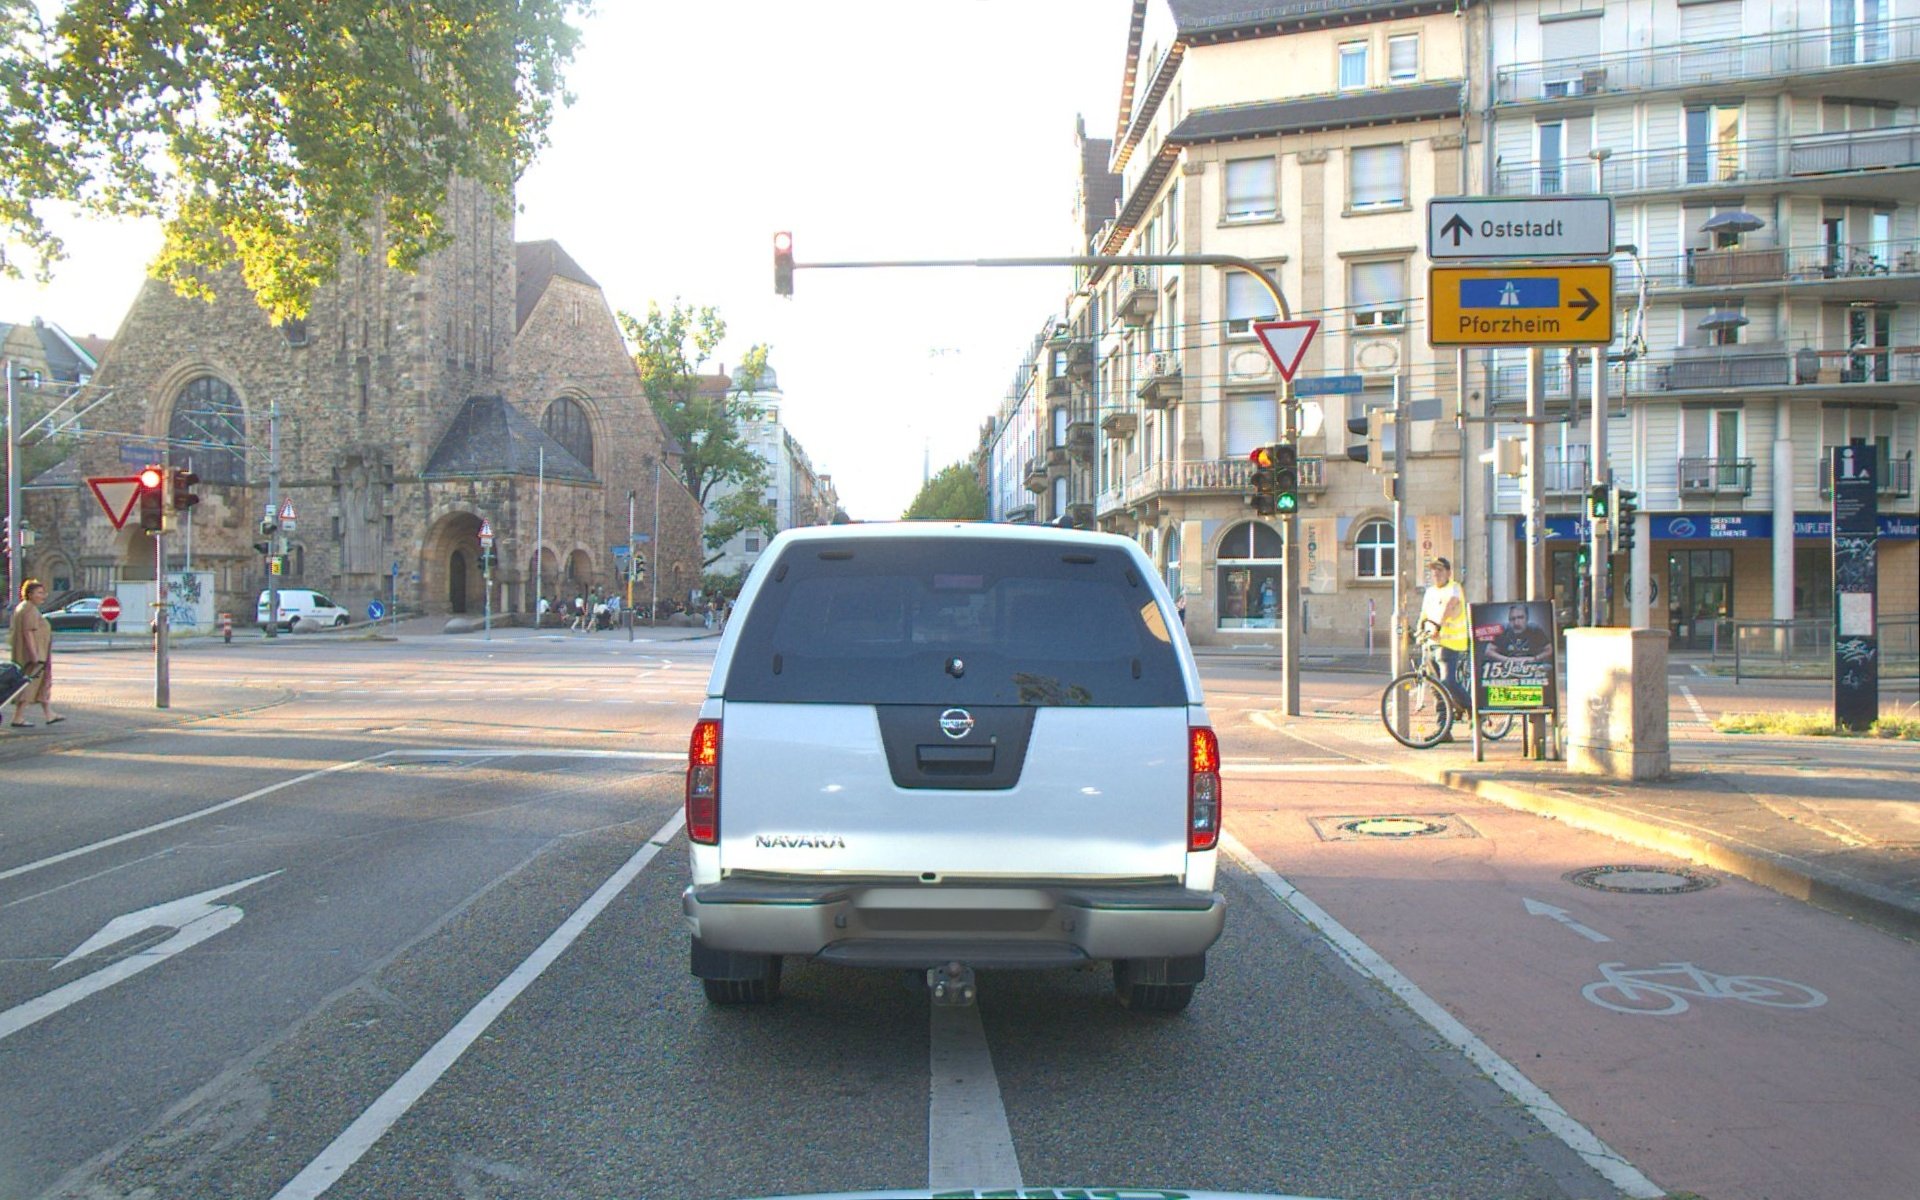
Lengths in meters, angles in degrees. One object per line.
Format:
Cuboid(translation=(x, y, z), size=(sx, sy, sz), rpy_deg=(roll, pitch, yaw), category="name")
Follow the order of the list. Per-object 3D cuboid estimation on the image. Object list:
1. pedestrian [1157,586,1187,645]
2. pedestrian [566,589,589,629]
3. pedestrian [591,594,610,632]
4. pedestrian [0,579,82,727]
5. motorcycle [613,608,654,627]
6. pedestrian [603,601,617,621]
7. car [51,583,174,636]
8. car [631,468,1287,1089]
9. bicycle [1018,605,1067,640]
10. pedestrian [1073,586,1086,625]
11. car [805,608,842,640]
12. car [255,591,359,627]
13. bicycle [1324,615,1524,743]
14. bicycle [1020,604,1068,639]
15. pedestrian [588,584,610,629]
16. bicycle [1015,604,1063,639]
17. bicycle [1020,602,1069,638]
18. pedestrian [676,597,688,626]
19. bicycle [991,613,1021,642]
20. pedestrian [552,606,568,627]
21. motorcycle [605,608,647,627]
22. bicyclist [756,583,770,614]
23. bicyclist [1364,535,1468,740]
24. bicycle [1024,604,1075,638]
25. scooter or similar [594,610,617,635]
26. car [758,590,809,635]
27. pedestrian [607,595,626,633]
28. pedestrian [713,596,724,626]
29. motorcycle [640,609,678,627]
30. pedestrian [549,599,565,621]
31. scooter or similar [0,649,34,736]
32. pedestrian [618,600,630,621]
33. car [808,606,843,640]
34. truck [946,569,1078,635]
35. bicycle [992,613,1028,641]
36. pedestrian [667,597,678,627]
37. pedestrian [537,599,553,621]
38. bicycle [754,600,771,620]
Cuboid(translation=(6.544, 0.473, 51.114), size=(0.771, 1.810, 0.543), rpy_deg=(0, -1, 24), category="pedestrian")
Cuboid(translation=(-16.367, 0.396, 70.786), size=(0.796, 1.699, 0.859), rpy_deg=(1, -1, -3), category="pedestrian")
Cuboid(translation=(-16.392, 0.606, 75.405), size=(0.620, 1.728, 0.603), rpy_deg=(1, -1, 9), category="pedestrian")
Cuboid(translation=(-10.691, 0.602, 19.004), size=(0.786, 1.656, 0.773), rpy_deg=(1, -1, -6), category="pedestrian")
Cuboid(translation=(-18.411, 0.978, 93.427), size=(2.201, 1.005, 0.707), rpy_deg=(1, -1, -7), category="motorcycle")
Cuboid(translation=(-16.961, 0.544, 80.137), size=(0.510, 0.977, 0.479), rpy_deg=(1, -1, 16), category="pedestrian")
Cuboid(translation=(-32.705, 0.355, 63.870), size=(3.906, 1.646, 1.999), rpy_deg=(2, -8, 23), category="car")
Cuboid(translation=(-0.025, 0.564, 7.004), size=(1.953, 1.841, 3.999), rpy_deg=(1, -1, -1), category="car")
Cuboid(translation=(3.190, 0.867, 63.926), size=(1.781, 1.259, 0.477), rpy_deg=(-3, -1, -3), category="bicycle")
Cuboid(translation=(5.241, 0.232, 72.423), size=(0.517, 1.683, 0.547), rpy_deg=(1, -1, -1), category="pedestrian")
Cuboid(translation=(-7.735, 1.396, 94.007), size=(1.954, 1.585, 4.765), rpy_deg=(0, -3, -3), category="car")
Cuboid(translation=(-29.220, 0.415, 74.100), size=(1.679, 1.543, 4.454), rpy_deg=(1, -1, 23), category="car")
Cuboid(translation=(4.368, 0.725, 15.509), size=(2.046, 1.129, 0.621), rpy_deg=(1, -1, -34), category="bicycle")
Cuboid(translation=(3.278, 0.842, 64.653), size=(1.781, 1.259, 0.412), rpy_deg=(-3, -1, -3), category="bicycle")
Cuboid(translation=(-15.470, 0.283, 70.852), size=(0.796, 1.934, 0.666), rpy_deg=(1, -1, -3), category="pedestrian")
Cuboid(translation=(3.147, 0.855, 65.787), size=(1.818, 1.259, 0.530), rpy_deg=(-3, -1, -3), category="bicycle")
Cuboid(translation=(3.235, 0.768, 63.217), size=(1.781, 1.259, 0.487), rpy_deg=(-3, -1, -3), category="bicycle")
Cuboid(translation=(-16.737, 0.683, 99.559), size=(0.630, 1.725, 0.561), rpy_deg=(1, -1, -2), category="pedestrian")
Cuboid(translation=(1.769, 1.054, 63.597), size=(1.055, 1.042, 0.317), rpy_deg=(-3, -1, -3), category="bicycle")
Cuboid(translation=(-18.261, 0.752, 75.575), size=(0.469, 0.977, 0.522), rpy_deg=(0, -1, 29), category="pedestrian")
Cuboid(translation=(-18.473, 0.954, 91.399), size=(2.201, 1.005, 0.707), rpy_deg=(1, -1, -7), category="motorcycle")
Cuboid(translation=(-10.734, -0.057, 90.080), size=(0.589, 1.673, 0.959), rpy_deg=(1, -1, -16), category="bicyclist")
Cuboid(translation=(4.255, 0.350, 15.435), size=(0.690, 1.856, 0.621), rpy_deg=(1, -1, -33), category="bicyclist")
Cuboid(translation=(3.369, 0.773, 62.279), size=(1.781, 1.170, 0.636), rpy_deg=(-3, -1, -3), category="bicycle")
Cuboid(translation=(-15.941, 0.998, 74.361), size=(0.620, 1.122, 1.079), rpy_deg=(0, 0, 14), category="scooter or similar")
Cuboid(translation=(-7.783, 0.522, 73.308), size=(1.953, 1.815, 4.796), rpy_deg=(1, 1, -2), category="car")
Cuboid(translation=(-15.647, 0.639, 75.304), size=(0.620, 1.728, 0.603), rpy_deg=(1, -1, 10), category="pedestrian")
Cuboid(translation=(-15.408, 0.692, 105.584), size=(0.632, 1.888, 0.559), rpy_deg=(1, -1, -15), category="pedestrian")
Cuboid(translation=(-17.443, 1.020, 95.731), size=(2.119, 1.005, 0.594), rpy_deg=(1, -1, 19), category="motorcycle")
Cuboid(translation=(-18.116, 0.461, 74.410), size=(0.511, 0.977, 0.479), rpy_deg=(1, -1, 18), category="pedestrian")
Cuboid(translation=(-10.648, 1.002, 18.157), size=(0.580, 0.913, 0.849), rpy_deg=(1, -1, -11), category="scooter or similar")
Cuboid(translation=(-16.247, 0.508, 80.063), size=(0.513, 0.977, 0.477), rpy_deg=(1, -1, -17), category="pedestrian")
Cuboid(translation=(-8.529, 1.451, 105.047), size=(1.953, 2.049, 4.948), rpy_deg=(0, -1, -2), category="car")
Cuboid(translation=(2.215, 0.102, 68.826), size=(5.630, 2.610, 2.250), rpy_deg=(1, -1, -45), category="truck")
Cuboid(translation=(1.947, 1.049, 64.312), size=(1.344, 1.042, 0.317), rpy_deg=(-3, -1, -3), category="bicycle")
Cuboid(translation=(-16.951, 0.697, 97.472), size=(0.631, 1.725, 0.560), rpy_deg=(1, -1, -10), category="pedestrian")
Cuboid(translation=(-18.730, 0.453, 74.676), size=(0.511, 0.977, 0.479), rpy_deg=(1, -1, 18), category="pedestrian")
Cuboid(translation=(-10.765, 0.527, 90.101), size=(0.589, 1.062, 1.937), rpy_deg=(1, -1, -15), category="bicycle")
